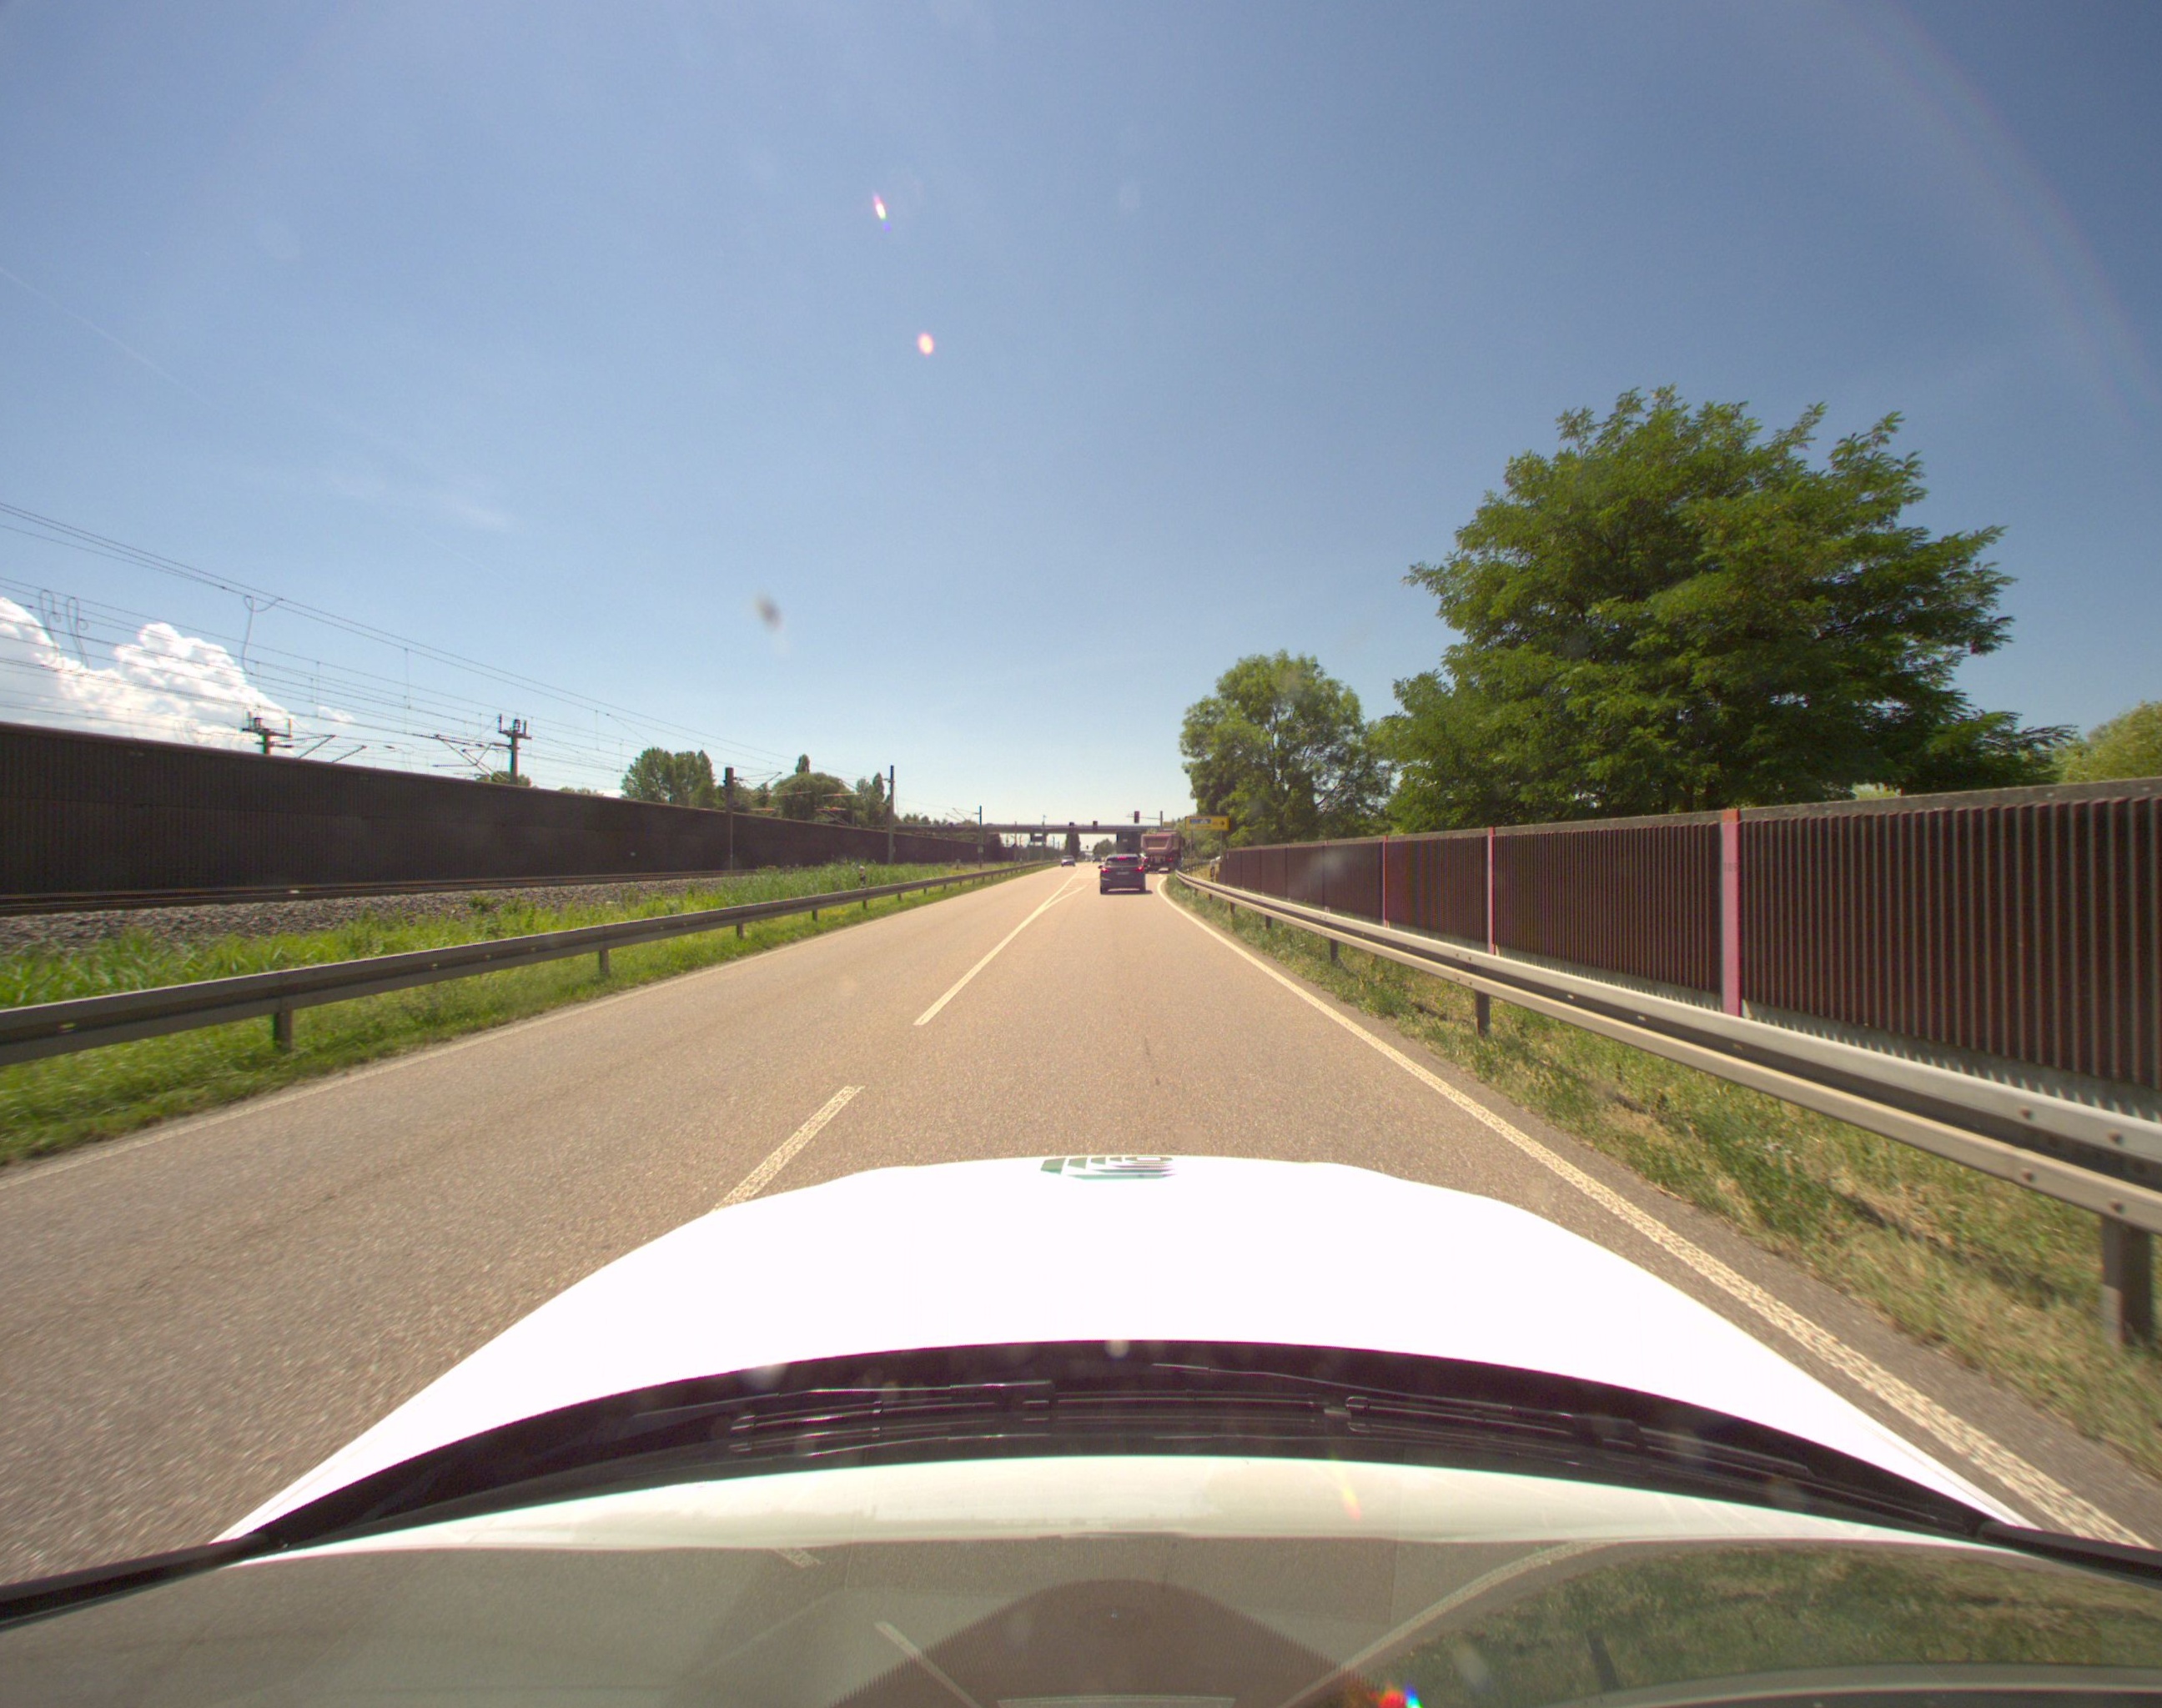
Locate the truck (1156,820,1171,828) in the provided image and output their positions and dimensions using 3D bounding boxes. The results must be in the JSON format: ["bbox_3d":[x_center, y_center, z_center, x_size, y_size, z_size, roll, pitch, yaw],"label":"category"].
[{"bbox_3d":[22.608,-8.142,223.244,3.966,2.014,2.004,-1,0,7],"label":"truck"}]

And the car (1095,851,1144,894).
[{"bbox_3d":[1.592,0.712,33.286,1.837,1.623,4.229,-1,0,3],"label":"car"}]

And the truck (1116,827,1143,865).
[{"bbox_3d":[5.033,-0.783,85.654,2.579,3.737,9.582,-1,0,3],"label":"truck"}]

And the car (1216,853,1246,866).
[{"bbox_3d":[19.745,0.720,107.529,3.692,1.632,1.735,-1,0,1],"label":"car"}]

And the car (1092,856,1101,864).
[{"bbox_3d":[3.428,1.249,181.606,1.919,1.767,4.602,0,0,4],"label":"car"}]

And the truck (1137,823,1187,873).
[{"bbox_3d":[7.082,-0.471,69.408,2.814,3.821,11.925,-1,0,12],"label":"truck"}]

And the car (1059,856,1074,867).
[{"bbox_3d":[-1.875,1.010,108.945,1.859,1.485,4.886,-1,0,0],"label":"car"}]
